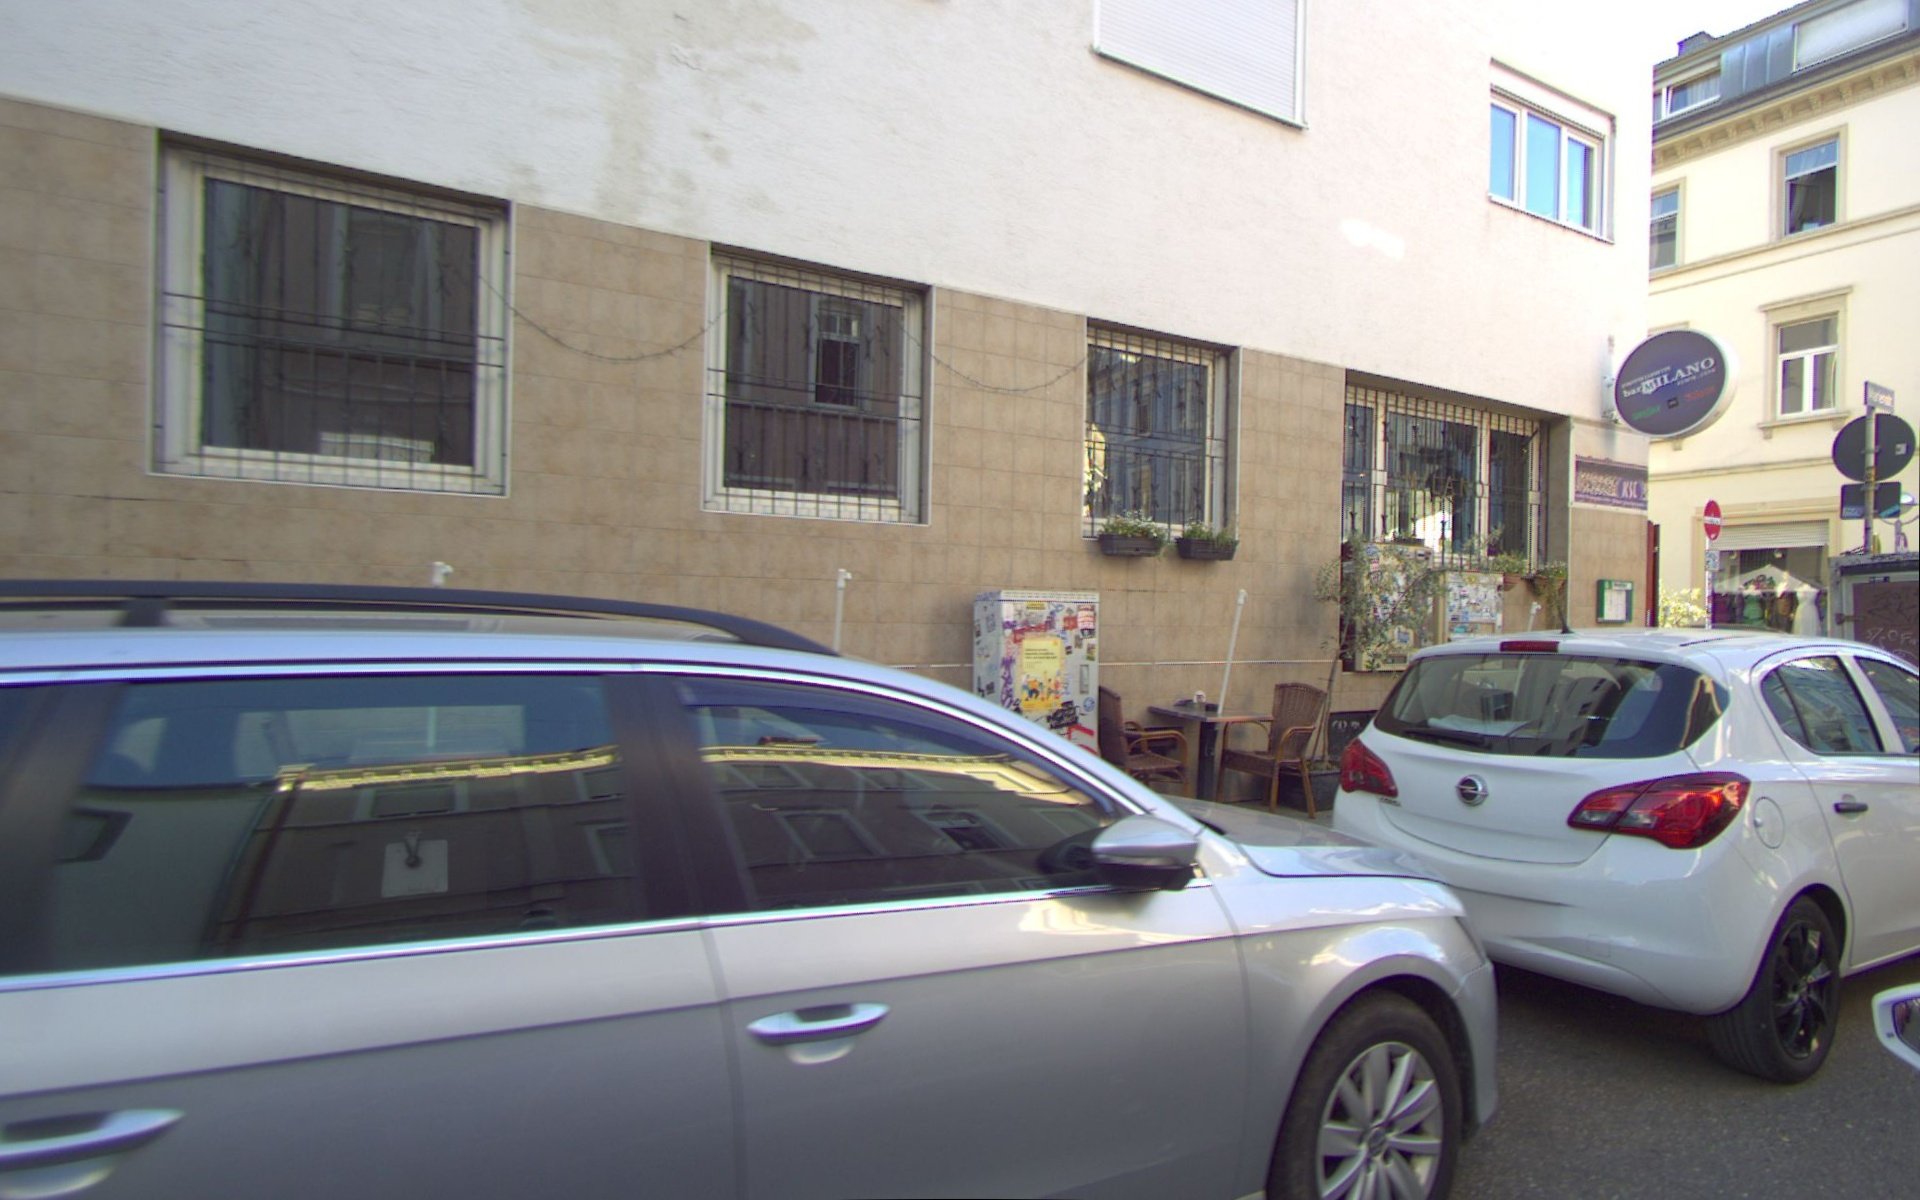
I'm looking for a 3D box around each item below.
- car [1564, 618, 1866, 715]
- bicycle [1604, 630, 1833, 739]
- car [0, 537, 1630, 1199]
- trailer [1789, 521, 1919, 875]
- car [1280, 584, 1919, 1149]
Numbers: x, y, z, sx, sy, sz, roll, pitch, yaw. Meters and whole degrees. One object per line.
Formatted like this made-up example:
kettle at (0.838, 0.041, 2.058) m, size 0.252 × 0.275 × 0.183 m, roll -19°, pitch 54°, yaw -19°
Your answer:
car at (13.750, 1.128, 18.562) m, size 1.739 × 1.475 × 4.118 m, roll 1°, pitch 0°, yaw -31°
bicycle at (10.781, 1.146, 14.404) m, size 0.917 × 1.377 × 2.465 m, roll 1°, pitch -1°, yaw -28°
car at (-0.553, 0.745, 2.285) m, size 4.477 × 1.516 × 1.666 m, roll 2°, pitch -2°, yaw -30°
trailer at (7.594, 0.633, 6.916) m, size 4.316 × 2.088 × 1.652 m, roll 2°, pitch -2°, yaw -32°
car at (3.397, 0.819, 4.500) m, size 3.773 × 1.575 × 1.669 m, roll 2°, pitch -2°, yaw -30°
